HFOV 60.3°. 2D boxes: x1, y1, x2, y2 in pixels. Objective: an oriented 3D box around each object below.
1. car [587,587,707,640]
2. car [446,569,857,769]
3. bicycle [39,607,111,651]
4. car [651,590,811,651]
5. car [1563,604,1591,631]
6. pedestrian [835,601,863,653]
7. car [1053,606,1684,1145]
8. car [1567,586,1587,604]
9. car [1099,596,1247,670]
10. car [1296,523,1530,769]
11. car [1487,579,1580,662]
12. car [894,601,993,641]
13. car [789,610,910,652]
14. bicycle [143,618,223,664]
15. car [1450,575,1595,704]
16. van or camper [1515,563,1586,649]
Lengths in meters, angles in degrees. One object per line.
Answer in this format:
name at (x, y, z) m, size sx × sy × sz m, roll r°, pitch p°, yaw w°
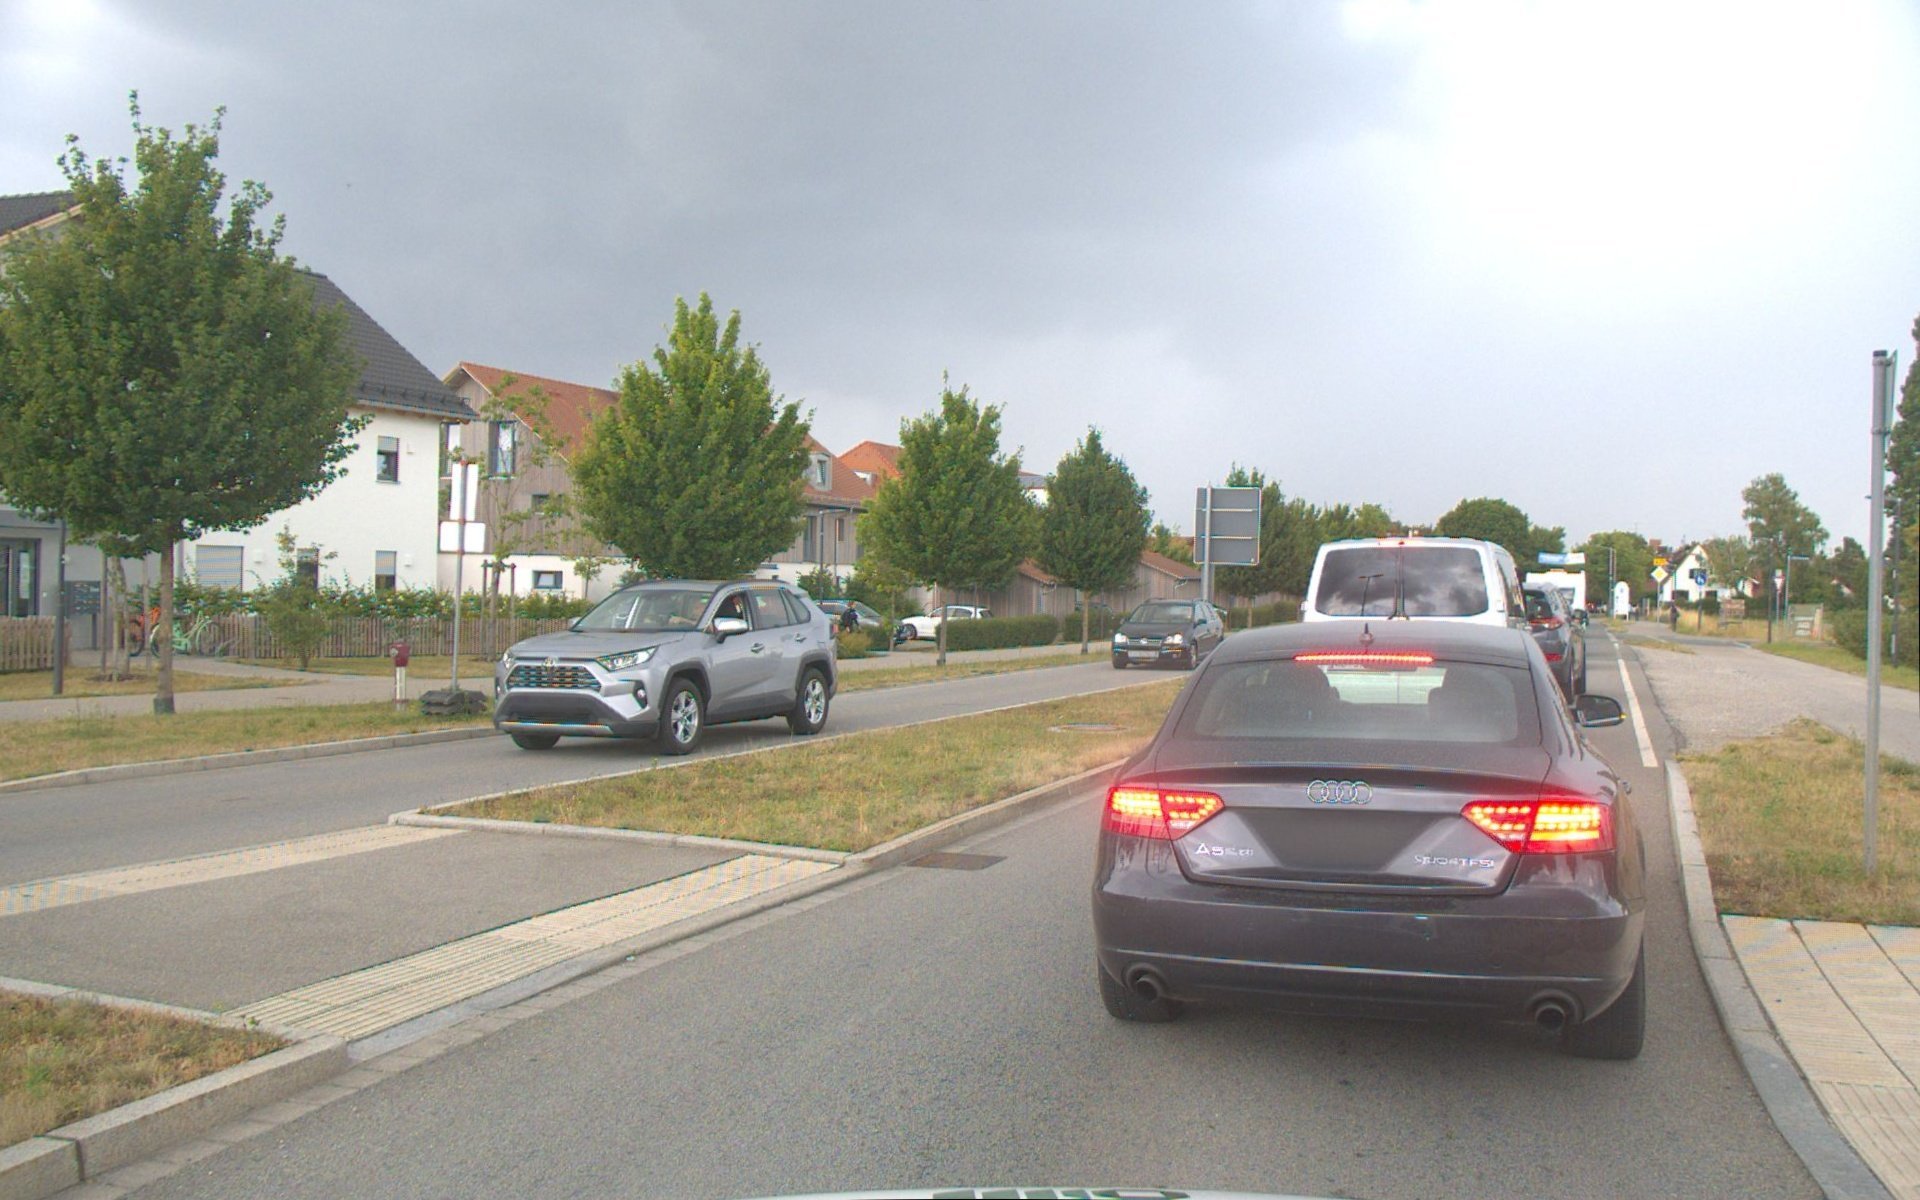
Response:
car at (-11.264, 0.491, 59.783) m, size 1.955 × 1.803 × 4.461 m, roll 1°, pitch 0°, yaw 26°
car at (-2.931, 0.594, 16.921) m, size 1.953 × 1.733 × 4.634 m, roll 1°, pitch 0°, yaw 22°
bicycle at (-18.131, 0.593, 33.917) m, size 0.360 × 0.858 × 1.337 m, roll 4°, pitch 1°, yaw 23°
car at (-6.972, 0.597, 50.309) m, size 4.440 × 1.709 × 1.999 m, roll 2°, pitch 1°, yaw 25°
car at (40.804, 1.144, 109.359) m, size 1.580 × 1.659 × 3.615 m, roll 2°, pitch 0°, yaw 22°
pedestrian at (-3.491, 0.835, 51.829) m, size 0.645 × 1.586 × 0.583 m, roll 1°, pitch 0°, yaw 25°
car at (1.771, 0.743, 6.667) m, size 1.747 × 1.416 × 4.134 m, roll 0°, pitch 0°, yaw 19°
car at (78.399, -0.653, 210.092) m, size 1.954 × 2.250 × 3.997 m, roll 1°, pitch 1°, yaw 25°
car at (4.664, 0.666, 35.699) m, size 1.720 × 1.441 × 4.450 m, roll 2°, pitch 1°, yaw 27°
car at (4.343, 0.369, 15.555) m, size 1.828 × 1.968 × 4.002 m, roll 1°, pitch 0°, yaw 18°
car at (12.232, 0.425, 35.130) m, size 1.740 × 1.646 × 4.000 m, roll 0°, pitch 0°, yaw 21°
car at (-0.647, 0.834, 67.111) m, size 3.651 × 1.508 × 1.687 m, roll 2°, pitch 1°, yaw 19°
car at (-3.884, 1.066, 58.153) m, size 3.833 × 1.338 × 1.843 m, roll 2°, pitch 1°, yaw 19°
bicycle at (-15.429, 0.795, 32.878) m, size 0.360 × 0.858 × 1.546 m, roll 4°, pitch 1°, yaw 23°
car at (8.178, 0.538, 23.858) m, size 1.740 × 1.646 × 4.000 m, roll -3°, pitch -1°, yaw 21°
van or camper at (24.795, 0.284, 69.309) m, size 2.571 × 3.381 × 6.821 m, roll 2°, pitch 0°, yaw 21°
